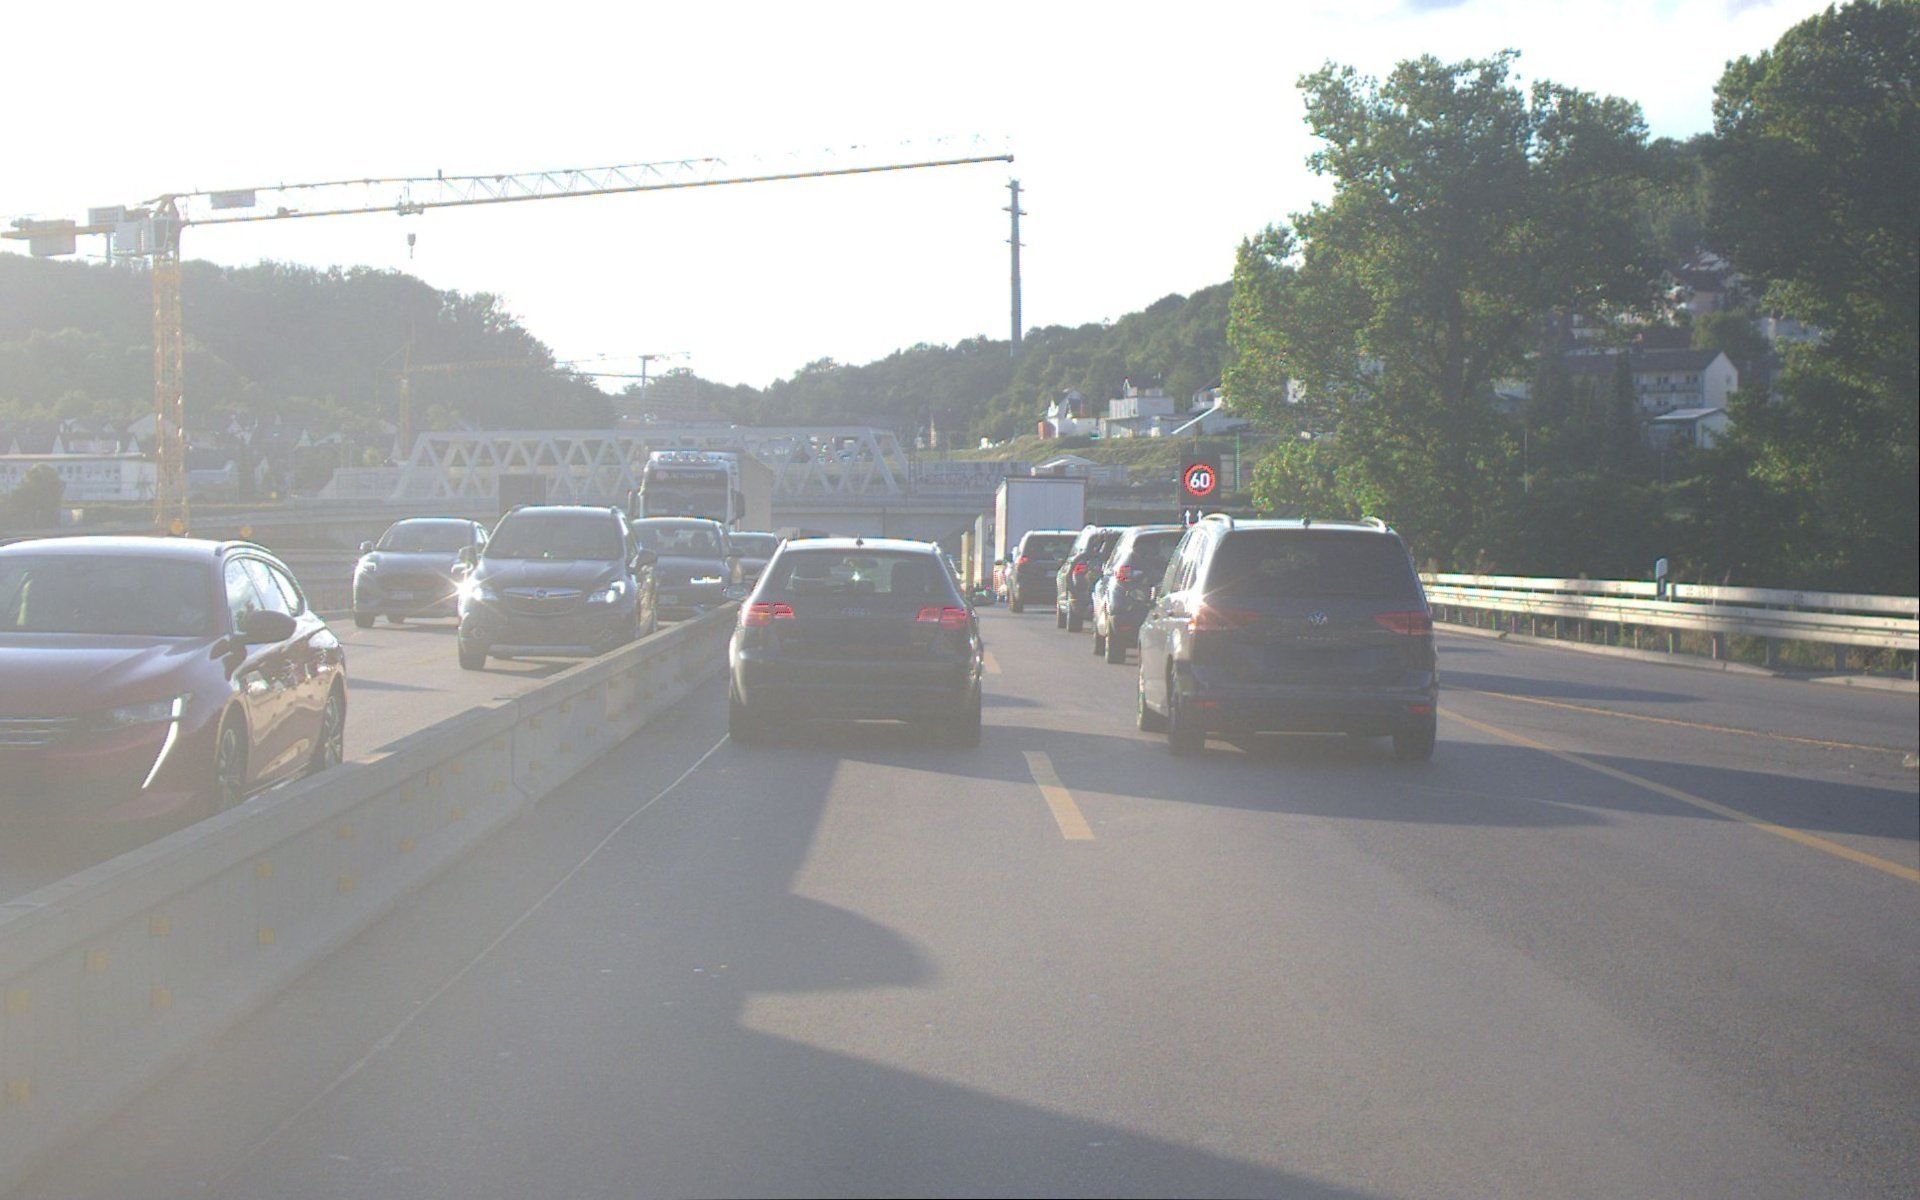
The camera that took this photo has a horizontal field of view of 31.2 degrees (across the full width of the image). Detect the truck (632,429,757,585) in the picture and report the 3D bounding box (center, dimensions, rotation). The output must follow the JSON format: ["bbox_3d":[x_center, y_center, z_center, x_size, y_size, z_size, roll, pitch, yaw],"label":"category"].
[{"bbox_3d":[-7.032,-2.439,91.735,2.814,4.034,5.672,0,1,1],"label":"truck"}]

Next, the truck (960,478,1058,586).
[{"bbox_3d":[2.081,-3.029,152.969,3.890,4.483,15.268,1,1,-1],"label":"truck"}]

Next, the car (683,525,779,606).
[{"bbox_3d":[-4.501,-0.670,67.997,1.766,1.529,4.000,1,0,-2],"label":"car"}]

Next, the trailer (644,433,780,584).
[{"bbox_3d":[-6.982,-2.537,98.805,2.814,4.037,14.021,0,1,0],"label":"trailer"}]

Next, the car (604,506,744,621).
[{"bbox_3d":[-4.085,-0.540,49.688,1.742,1.578,4.706,1,1,-2],"label":"car"}]

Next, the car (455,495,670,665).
[{"bbox_3d":[-4.035,-0.239,35.546,1.827,1.634,4.530,0,1,-2],"label":"car"}]

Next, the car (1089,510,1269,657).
[{"bbox_3d":[2.475,-0.210,39.725,1.774,1.580,4.135,1,1,0],"label":"car"}]

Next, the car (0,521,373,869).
[{"bbox_3d":[-4.141,0.348,16.787,1.815,1.458,4.706,0,1,-1],"label":"car"}]

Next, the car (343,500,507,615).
[{"bbox_3d":[-7.633,-0.625,49.364,1.691,1.563,4.293,0,1,0],"label":"car"}]

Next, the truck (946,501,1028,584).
[{"bbox_3d":[1.455,-3.321,196.198,3.890,4.483,13.850,1,1,-3],"label":"truck"}]

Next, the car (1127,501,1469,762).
[{"bbox_3d":[2.291,0.142,24.463,1.812,1.609,4.527,2,2,-1],"label":"car"}]

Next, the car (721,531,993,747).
[{"bbox_3d":[-0.750,0.219,24.687,1.770,1.385,4.001,1,1,-2],"label":"car"}]

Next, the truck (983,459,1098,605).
[{"bbox_3d":[2.558,-2.419,114.990,3.385,4.482,15.269,1,2,0],"label":"truck"}]

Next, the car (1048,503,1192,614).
[{"bbox_3d":[2.364,-0.598,51.958,1.875,1.594,4.966,0,0,-1],"label":"car"}]

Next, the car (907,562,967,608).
[{"bbox_3d":[-0.761,-0.507,112.188,1.863,1.415,4.000,2,1,-1],"label":"car"}]

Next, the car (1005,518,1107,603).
[{"bbox_3d":[1.889,-0.783,69.041,1.814,1.627,4.411,1,0,-1],"label":"car"}]
